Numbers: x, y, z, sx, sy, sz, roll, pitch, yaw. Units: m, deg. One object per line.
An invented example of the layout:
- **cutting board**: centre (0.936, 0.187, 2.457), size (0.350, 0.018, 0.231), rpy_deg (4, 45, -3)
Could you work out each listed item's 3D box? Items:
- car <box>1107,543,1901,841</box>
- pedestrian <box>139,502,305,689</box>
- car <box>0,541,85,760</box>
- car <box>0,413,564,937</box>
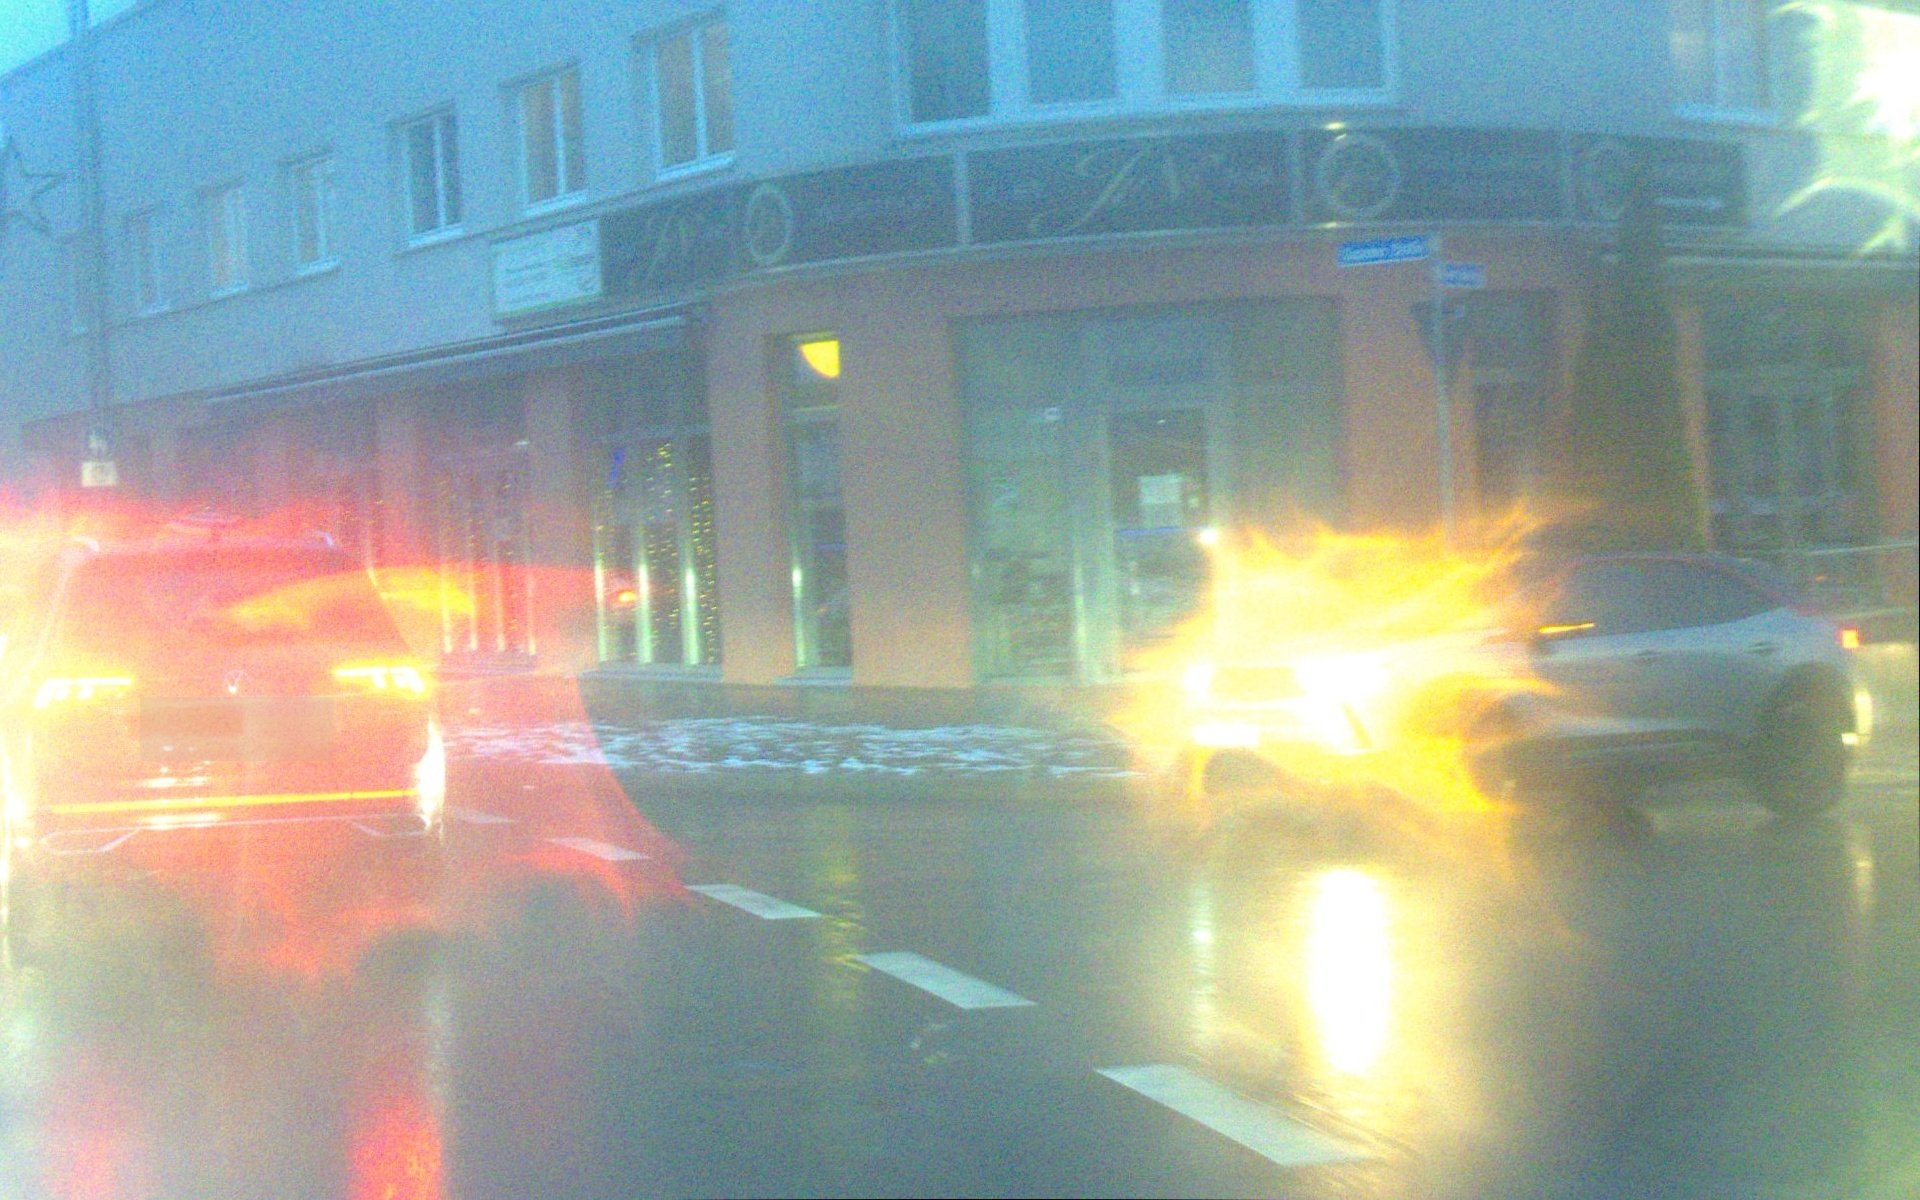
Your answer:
- **car**: centre (3.034, 0.424, 18.886), size (4.171, 1.436, 1.797), rpy_deg (-1, 2, -33)
- **pedestrian**: centre (-7.856, -0.053, 36.565), size (1.255, 1.859, 1.303), rpy_deg (-6, 2, -29)
- **car**: centre (-8.363, 0.393, 27.869), size (1.857, 1.641, 4.001), rpy_deg (-2, 1, -22)
- **car**: centre (-3.443, 0.266, 16.051), size (2.309, 1.932, 5.019), rpy_deg (-4, 1, -15)
